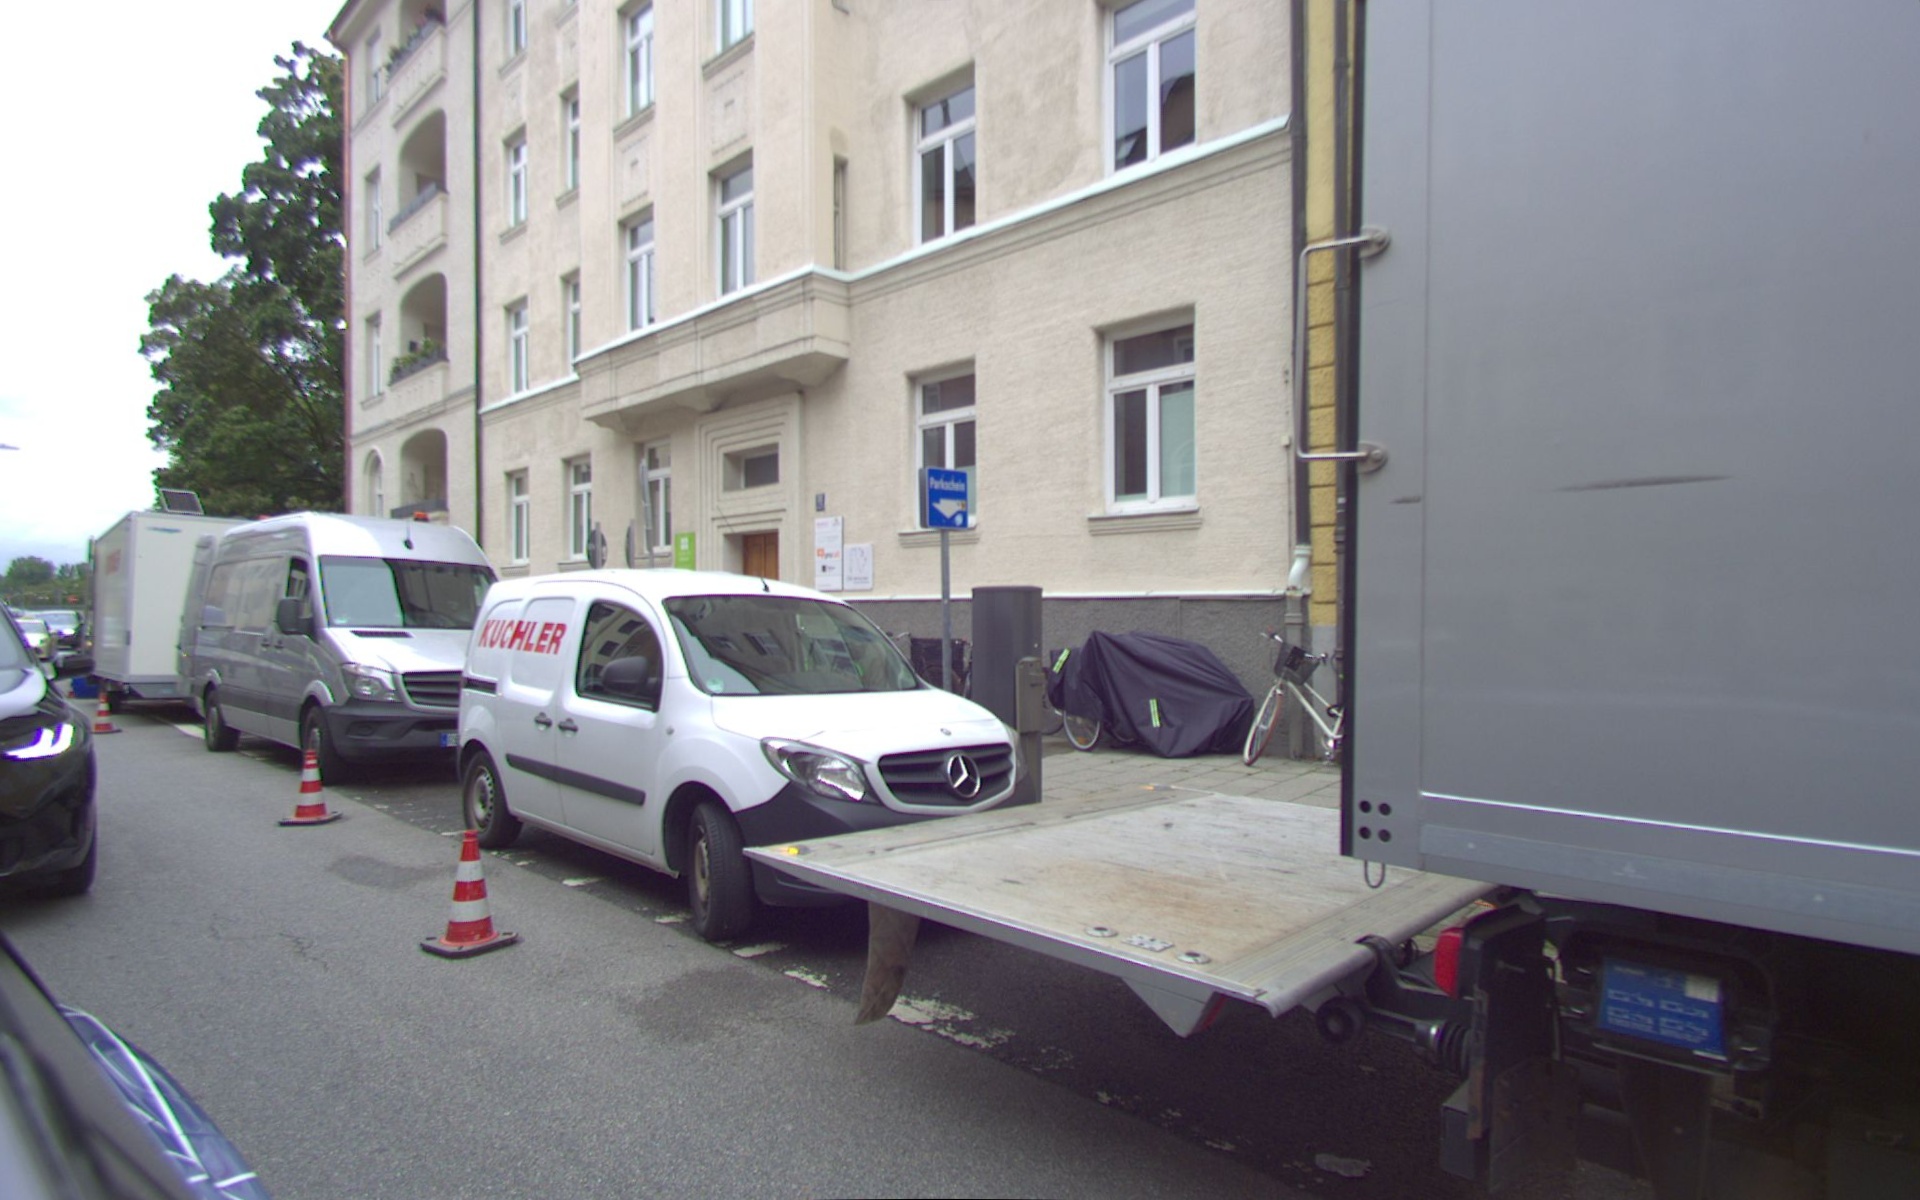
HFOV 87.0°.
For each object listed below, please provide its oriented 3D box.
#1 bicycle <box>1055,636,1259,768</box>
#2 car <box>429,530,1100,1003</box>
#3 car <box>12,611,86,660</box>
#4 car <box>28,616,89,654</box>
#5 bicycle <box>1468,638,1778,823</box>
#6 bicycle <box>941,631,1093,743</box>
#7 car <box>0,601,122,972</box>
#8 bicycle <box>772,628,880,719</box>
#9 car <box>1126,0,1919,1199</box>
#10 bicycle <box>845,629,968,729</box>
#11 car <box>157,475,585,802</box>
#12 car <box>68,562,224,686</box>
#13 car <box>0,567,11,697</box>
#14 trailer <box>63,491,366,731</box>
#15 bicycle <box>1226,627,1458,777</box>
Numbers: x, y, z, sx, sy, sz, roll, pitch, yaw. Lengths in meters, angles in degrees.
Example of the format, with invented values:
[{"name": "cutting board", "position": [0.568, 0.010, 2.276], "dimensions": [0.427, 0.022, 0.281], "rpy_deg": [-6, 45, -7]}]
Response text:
[{"name": "bicycle", "position": [1.807, 0.905, 9.446], "dimensions": [1.859, 1.112, 0.397], "rpy_deg": [-1, -1, 34]}, {"name": "car", "position": [-1.445, 0.691, 6.004], "dimensions": [4.328, 1.792, 1.743], "rpy_deg": [-1, -3, 45]}, {"name": "car", "position": [-32.988, 1.259, 36.641], "dimensions": [1.791, 1.601, 4.168], "rpy_deg": [7, -5, -42]}, {"name": "car", "position": [-38.713, 1.488, 43.528], "dimensions": [1.791, 1.474, 4.170], "rpy_deg": [6, -5, -41]}, {"name": "bicycle", "position": [4.660, 0.853, 7.199], "dimensions": [1.766, 1.112, 0.601], "rpy_deg": [-1, -1, 43]}, {"name": "bicycle", "position": [0.593, 0.922, 11.207], "dimensions": [1.864, 1.112, 0.396], "rpy_deg": [-1, -1, 43]}, {"name": "car", "position": [-6.049, 0.788, 5.331], "dimensions": [4.293, 1.577, 1.896], "rpy_deg": [0, -1, 42]}, {"name": "bicycle", "position": [-1.808, 0.942, 13.451], "dimensions": [1.743, 1.112, 0.423], "rpy_deg": [-1, -1, 44]}, {"name": "car", "position": [4.461, -0.540, 0.131], "dimensions": [8.724, 3.846, 2.782], "rpy_deg": [-1, -1, 43]}, {"name": "bicycle", "position": [-0.684, 0.929, 12.402], "dimensions": [1.736, 1.112, 0.423], "rpy_deg": [-1, -1, 44]}, {"name": "car", "position": [-6.809, 0.432, 11.145], "dimensions": [6.877, 2.607, 2.033], "rpy_deg": [-1, -5, 43]}, {"name": "car", "position": [-19.702, 0.569, 24.353], "dimensions": [6.796, 2.592, 2.117], "rpy_deg": [-1, -1, 44]}, {"name": "car", "position": [-21.356, 0.614, 21.166], "dimensions": [6.236, 2.510, 1.978], "rpy_deg": [0, 0, 45]}, {"name": "trailer", "position": [-12.260, 0.321, 16.304], "dimensions": [2.771, 2.992, 7.604], "rpy_deg": [5, -5, -44]}, {"name": "bicycle", "position": [3.194, 0.806, 8.590], "dimensions": [1.766, 1.112, 0.501], "rpy_deg": [-1, 2, 43]}]
